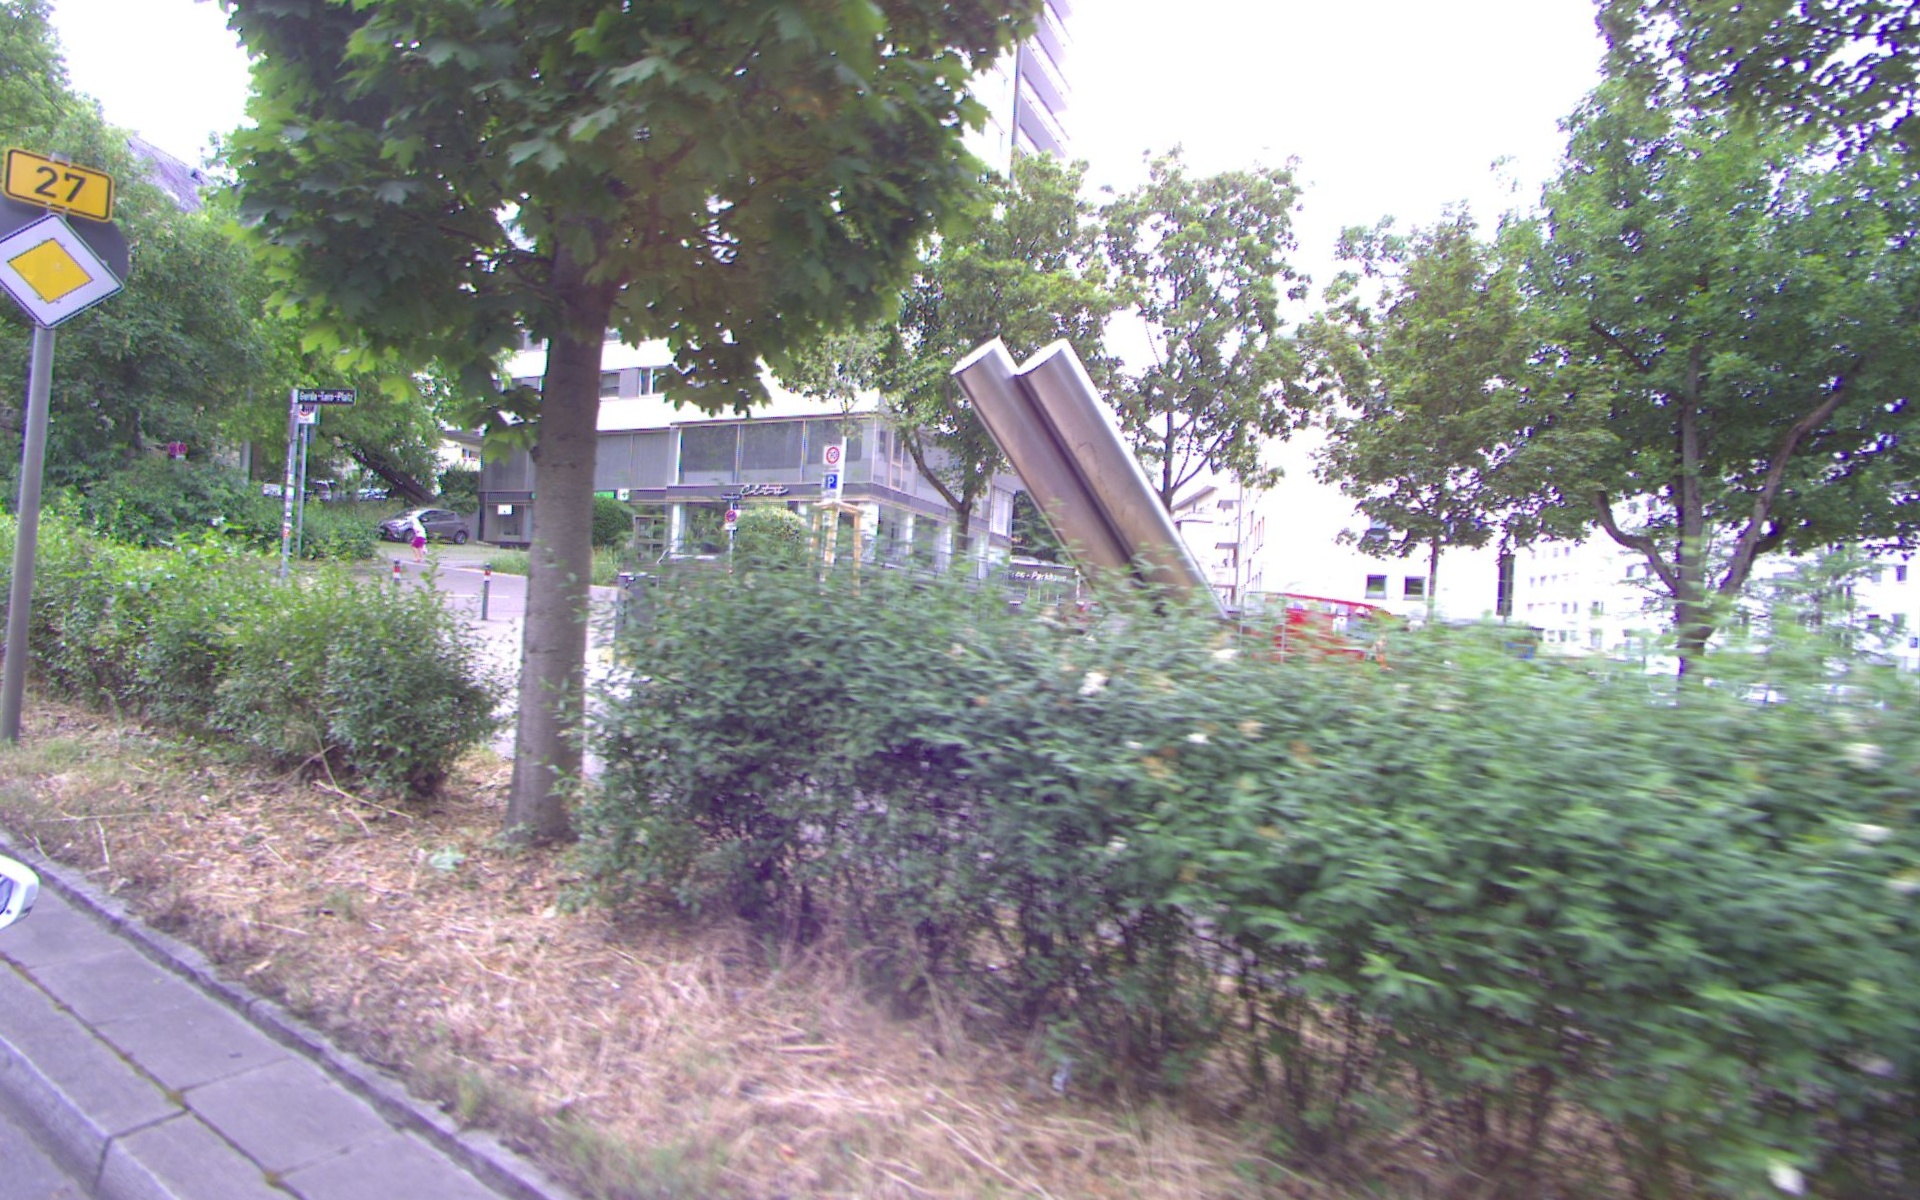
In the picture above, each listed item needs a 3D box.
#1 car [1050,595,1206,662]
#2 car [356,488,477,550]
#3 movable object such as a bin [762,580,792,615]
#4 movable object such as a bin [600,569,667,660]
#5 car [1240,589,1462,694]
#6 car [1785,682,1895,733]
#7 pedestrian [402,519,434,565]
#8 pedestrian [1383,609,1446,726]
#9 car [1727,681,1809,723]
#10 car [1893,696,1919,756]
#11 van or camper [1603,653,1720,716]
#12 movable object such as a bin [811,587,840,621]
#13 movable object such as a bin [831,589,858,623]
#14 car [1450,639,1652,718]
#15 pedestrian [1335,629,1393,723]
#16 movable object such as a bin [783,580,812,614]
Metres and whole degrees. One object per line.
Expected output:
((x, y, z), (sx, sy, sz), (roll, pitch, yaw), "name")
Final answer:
((4.385, 0.790, 26.656), (3.848, 1.293, 1.623), (6, -4, 4), "car")
((-23.481, -3.457, 43.592), (1.964, 2.039, 4.140), (7, 0, 24), "car")
((-6.483, -0.081, 35.658), (0.700, 1.117, 0.824), (6, 1, 8), "movable object such as a bin")
((-4.221, 0.191, 13.014), (0.556, 1.108, 0.494), (7, 1, 32), "movable object such as a bin")
((10.174, 1.120, 26.490), (4.889, 2.050, 2.032), (7, -3, 2), "car")
((38.129, 4.675, 43.744), (1.963, 1.906, 4.471), (5, -4, 19), "car")
((-19.134, -2.032, 35.535), (0.665, 1.519, 0.559), (6, 1, 6), "pedestrian")
((6.433, 0.945, 14.222), (0.609, 1.562, 0.549), (7, 1, 30), "pedestrian")
((39.995, 5.050, 49.875), (1.588, 1.821, 3.673), (5, -4, 12), "car")
((26.564, 3.417, 25.430), (4.070, 1.514, 1.757), (6, -4, 6), "car")
((29.182, 3.572, 42.070), (2.257, 2.254, 5.451), (5, -4, 17), "van or camper")
((-4.815, 0.141, 36.088), (0.700, 1.117, 0.824), (6, 1, 8), "movable object such as a bin")
((-4.116, 0.214, 35.918), (0.668, 1.117, 0.824), (6, 1, 8), "movable object such as a bin")
((15.222, 2.034, 26.060), (4.071, 1.524, 1.756), (6, -4, 2), "car")
((6.099, 1.135, 15.176), (0.609, 1.317, 0.549), (7, 1, 30), "pedestrian")
((-5.757, -0.106, 35.658), (0.700, 1.117, 0.824), (6, 1, 8), "movable object such as a bin")
